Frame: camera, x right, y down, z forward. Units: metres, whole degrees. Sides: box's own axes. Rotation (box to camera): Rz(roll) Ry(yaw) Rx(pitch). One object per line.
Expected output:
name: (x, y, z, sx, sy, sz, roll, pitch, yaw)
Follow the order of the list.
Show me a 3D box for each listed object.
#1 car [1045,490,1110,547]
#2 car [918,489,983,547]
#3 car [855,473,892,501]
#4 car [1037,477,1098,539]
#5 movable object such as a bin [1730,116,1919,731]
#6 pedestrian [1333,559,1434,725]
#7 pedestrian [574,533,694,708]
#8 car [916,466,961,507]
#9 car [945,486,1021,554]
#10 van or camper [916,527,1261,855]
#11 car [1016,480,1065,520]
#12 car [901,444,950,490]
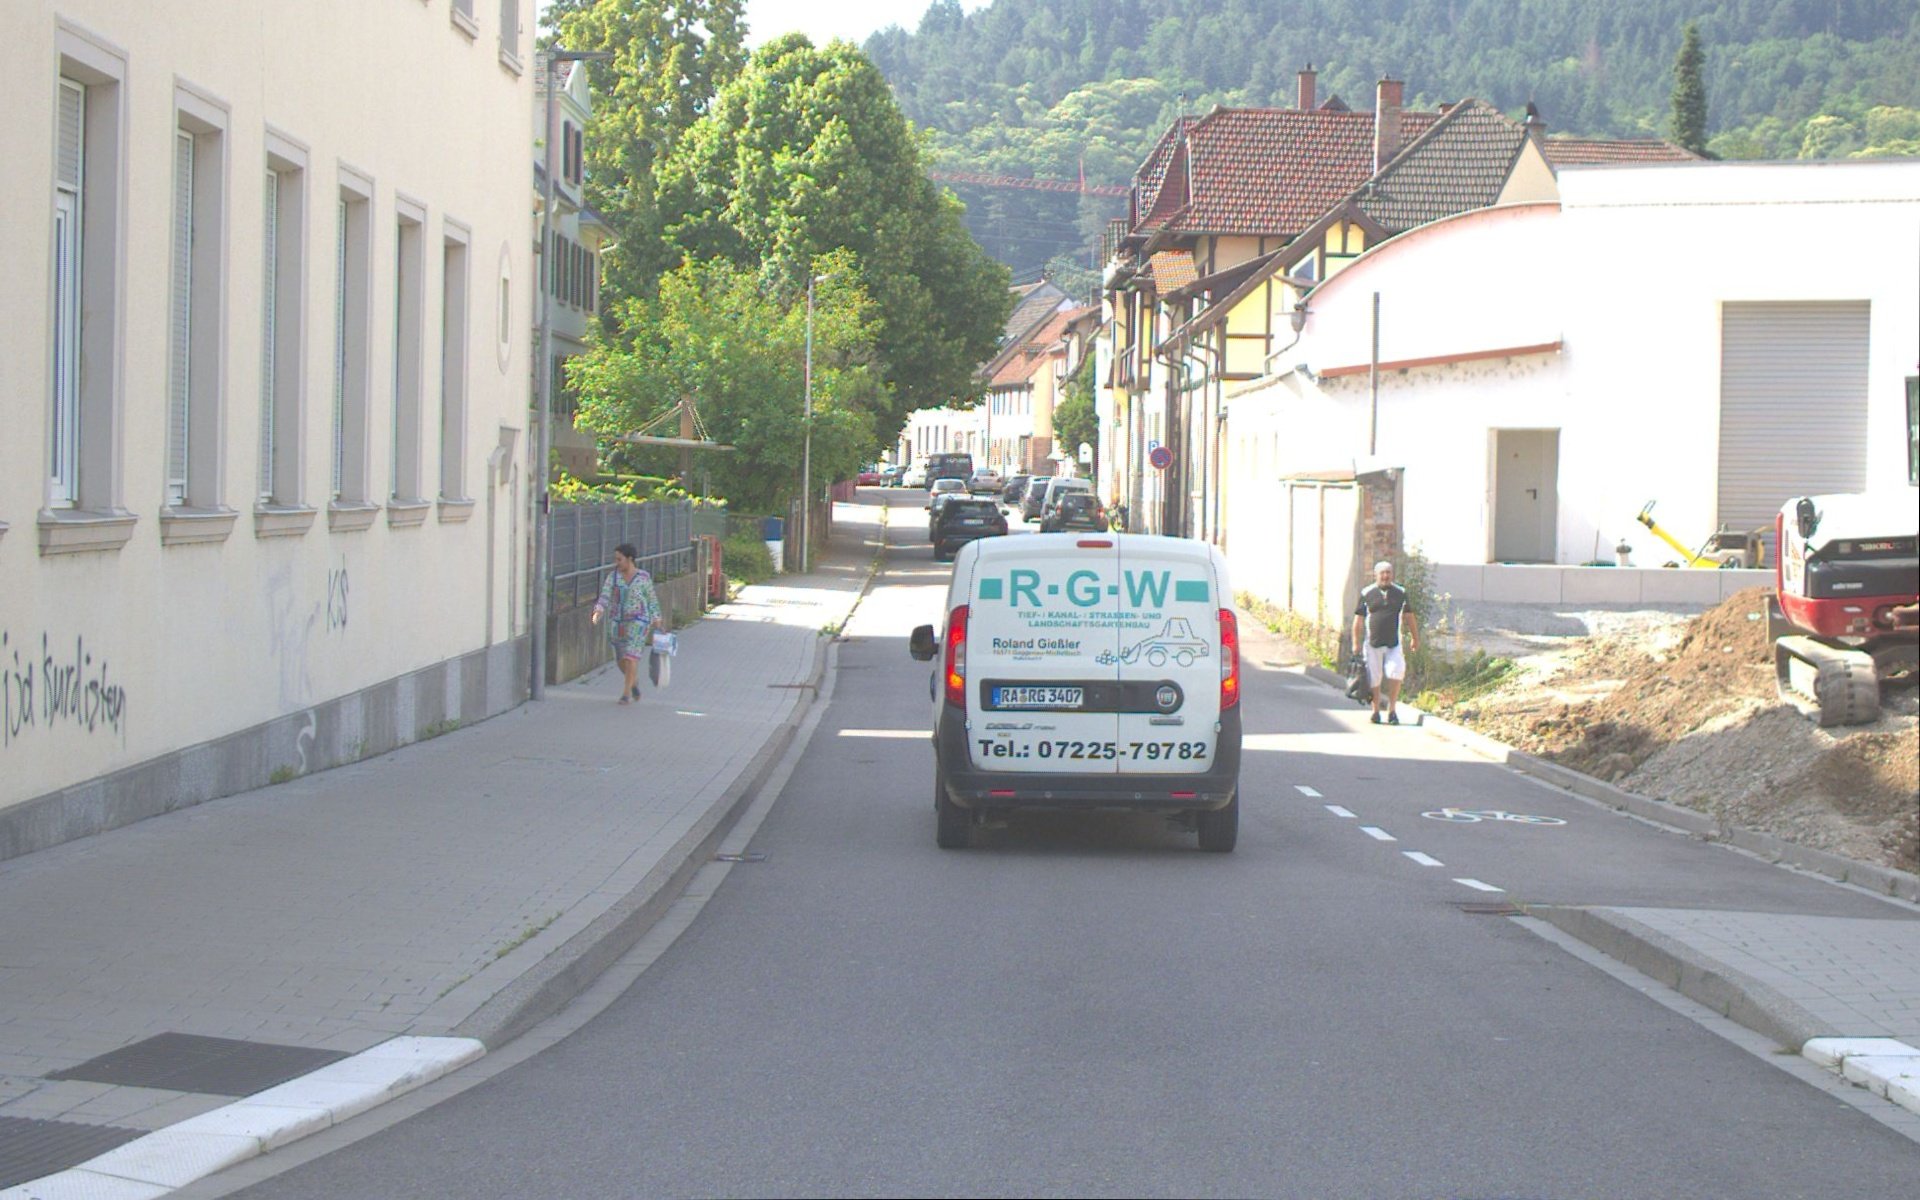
car: (3.658, -2.579, 107.659, 1.810, 1.591, 3.927, 3, 3, 0)
car: (-0.313, -2.555, 106.338, 1.810, 1.591, 3.928, 3, 3, -2)
car: (-5.728, -7.496, 227.832, 1.771, 1.792, 4.002, 1, 2, -12)
car: (3.671, -3.171, 117.823, 1.871, 2.006, 4.001, 2, 2, -1)
movable object such as a bin: (7.272, -1.139, 23.994, 2.295, 3.840, 7.798, 4, 2, 4)
pedestrian: (4.434, 0.429, 36.029, 0.888, 1.677, 0.718, 3, 1, 0)
pedestrian: (-3.240, 0.194, 34.208, 0.958, 1.625, 0.758, 6, 1, 0)
car: (-0.899, -4.894, 147.535, 1.810, 1.591, 3.927, 3, 3, 0)
car: (0.577, -2.105, 89.729, 1.810, 1.591, 3.927, 3, 3, -1)
van or camper: (0.695, 0.511, 21.386, 1.828, 1.838, 4.188, 0, 0, -2)
car: (3.127, -3.937, 134.575, 1.669, 1.503, 4.001, 0, 2, -2)
car: (-2.191, -8.324, 214.737, 2.874, 2.826, 6.125, 0, 2, -2)
